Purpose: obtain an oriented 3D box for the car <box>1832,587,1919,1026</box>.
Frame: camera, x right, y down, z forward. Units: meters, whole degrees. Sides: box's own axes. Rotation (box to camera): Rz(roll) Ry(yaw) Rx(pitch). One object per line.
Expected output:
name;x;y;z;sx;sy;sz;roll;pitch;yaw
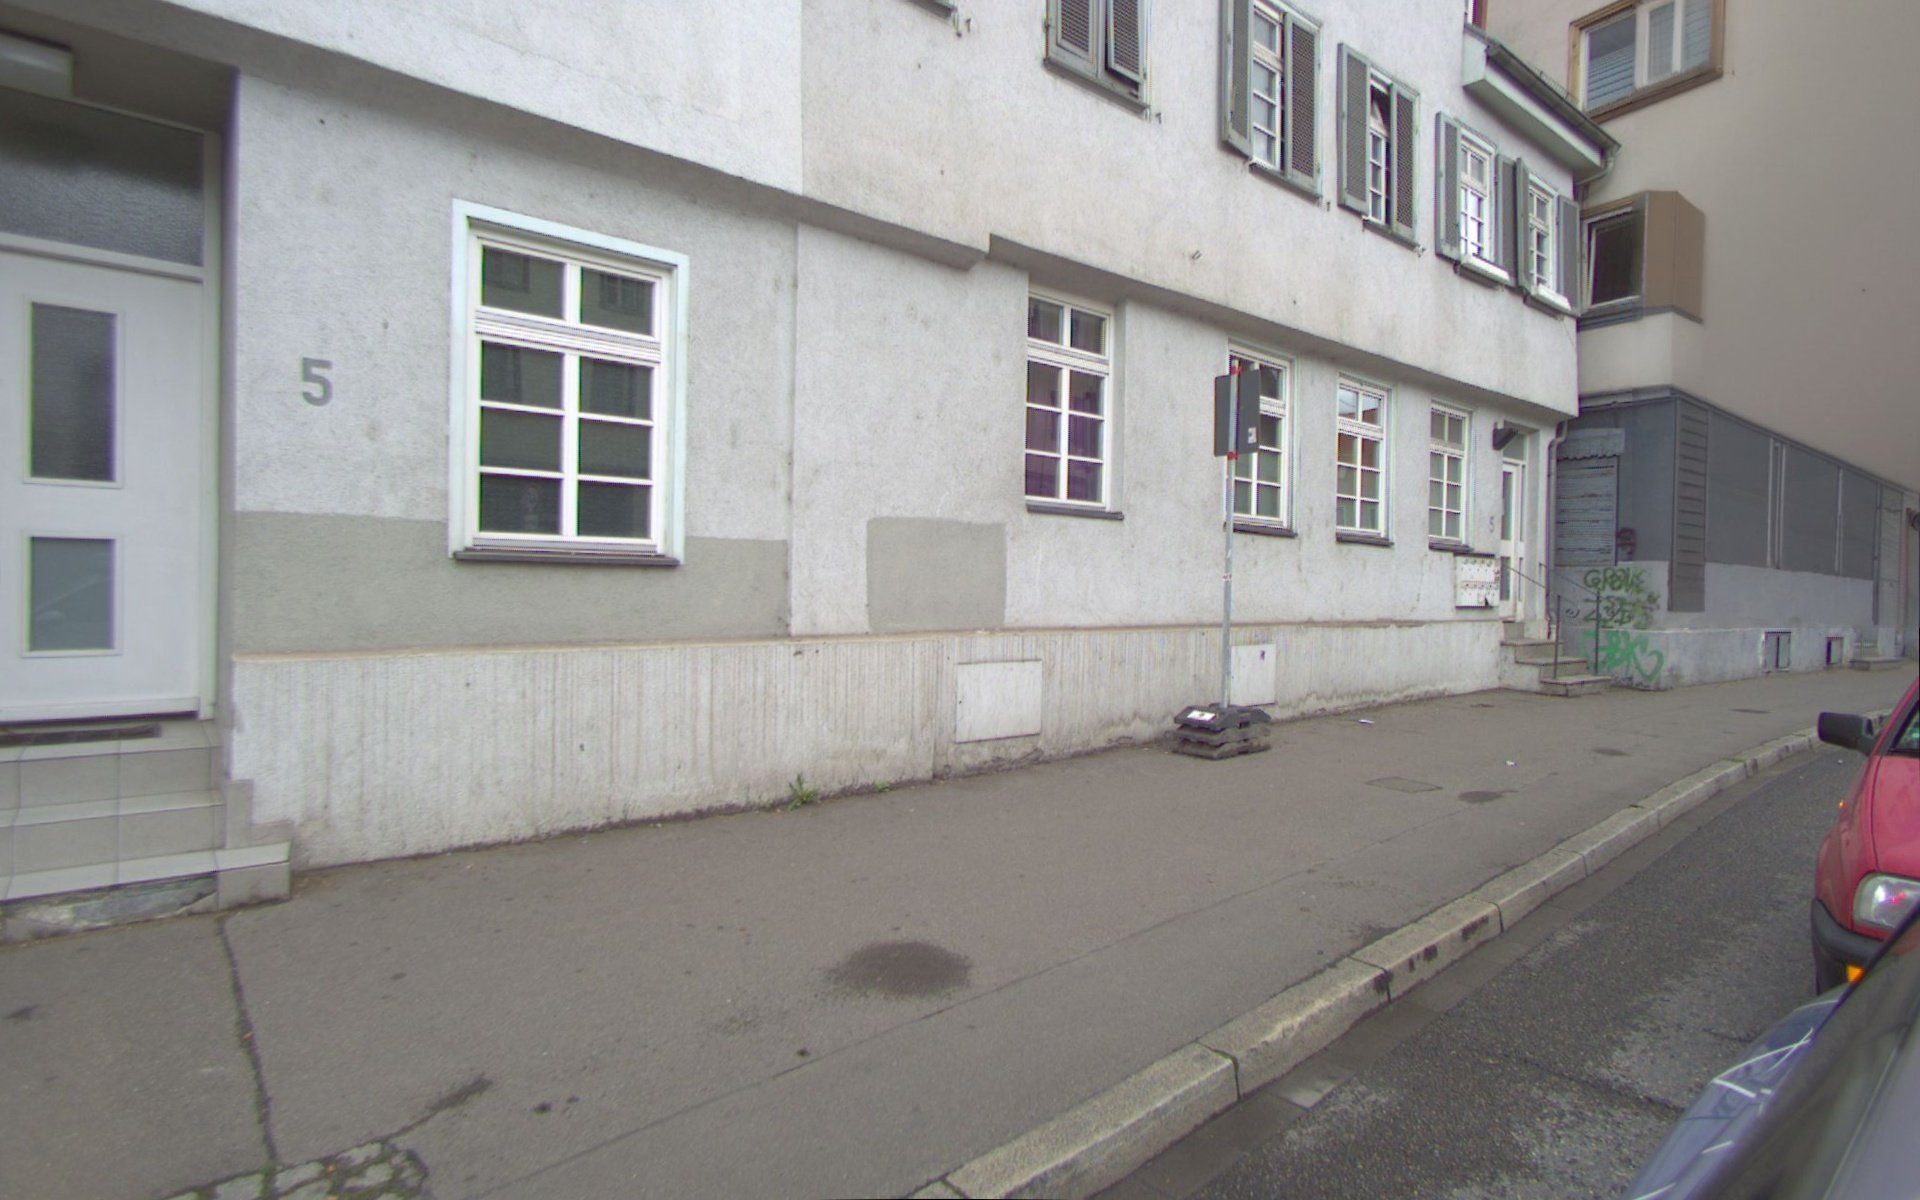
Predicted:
car;5.061;0.696;4.148;3.950;1.445;1.684;0;1;-41
